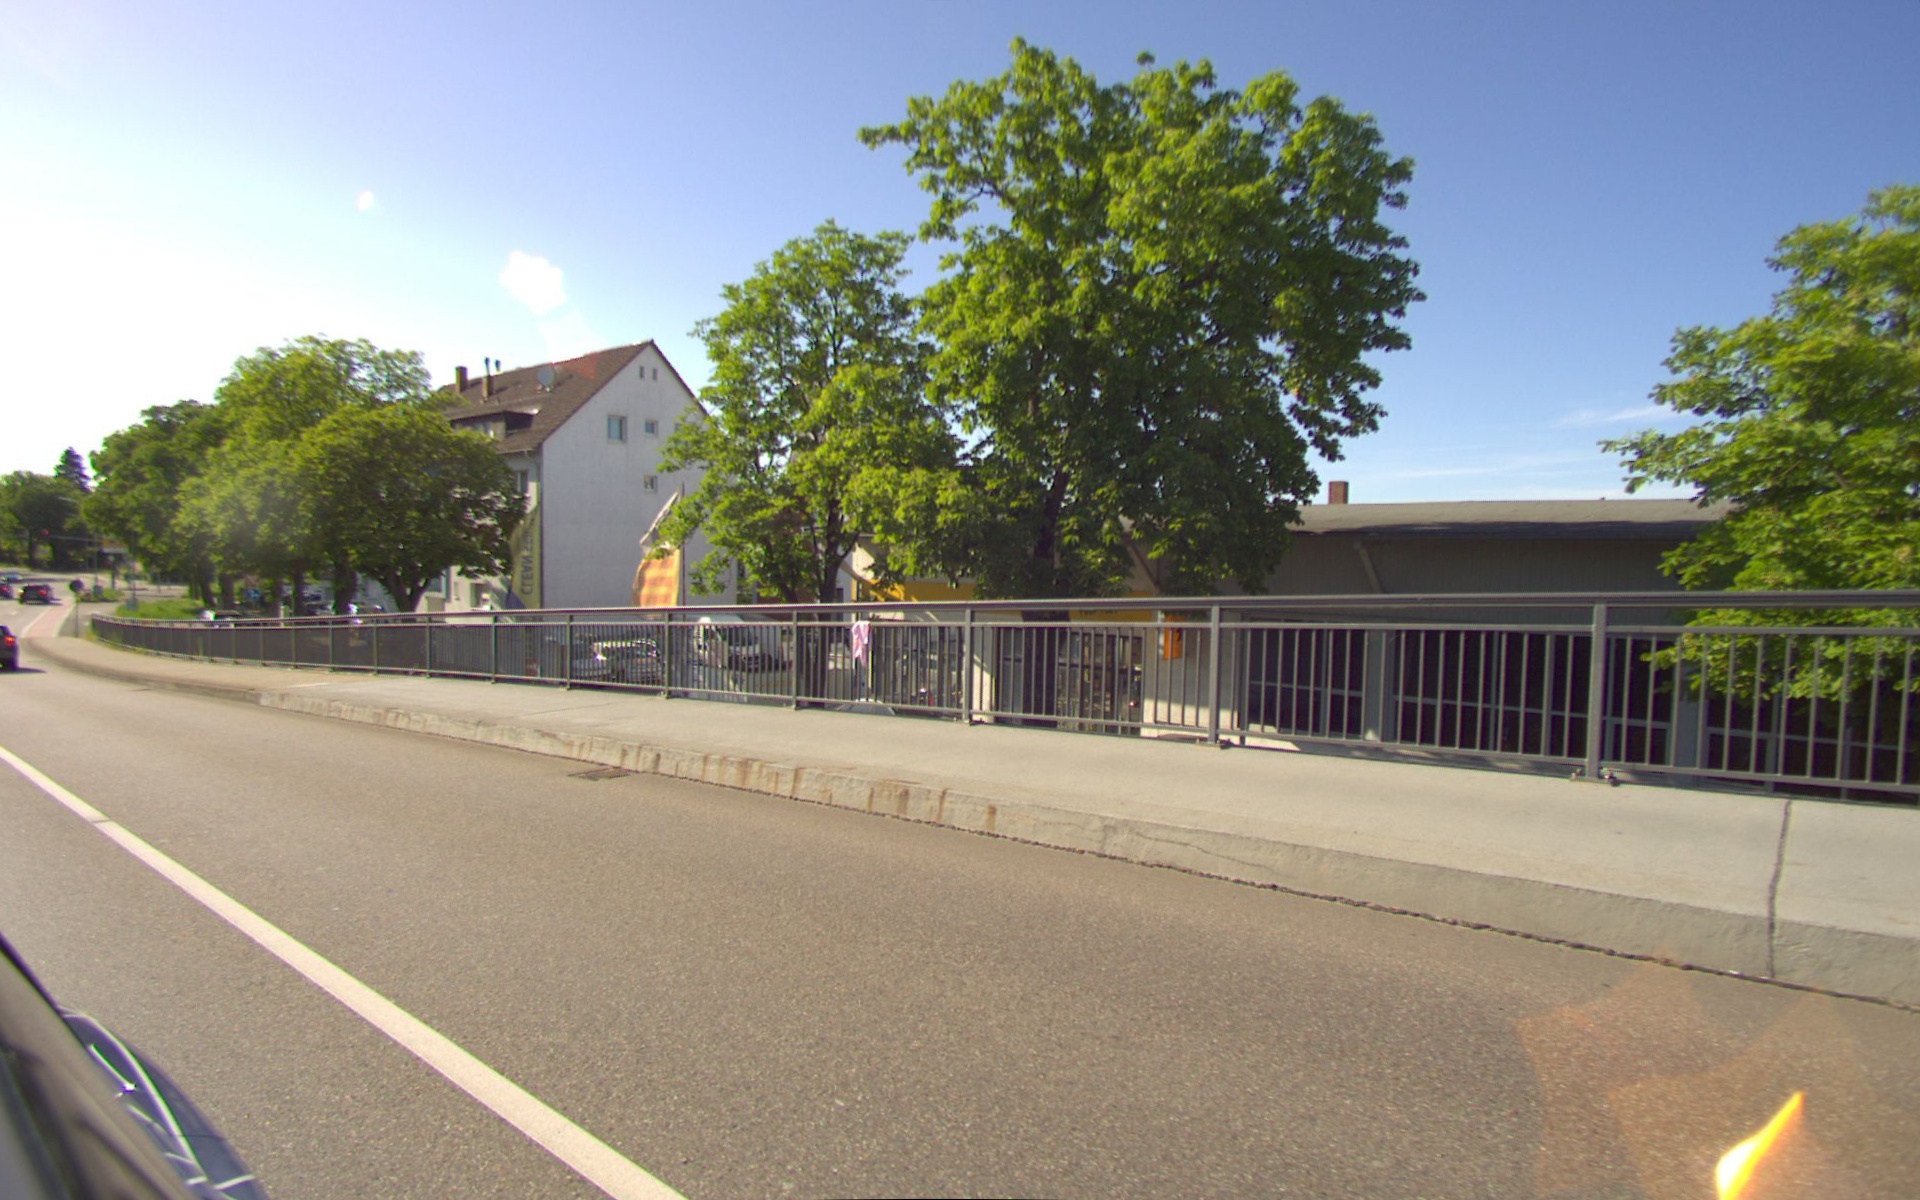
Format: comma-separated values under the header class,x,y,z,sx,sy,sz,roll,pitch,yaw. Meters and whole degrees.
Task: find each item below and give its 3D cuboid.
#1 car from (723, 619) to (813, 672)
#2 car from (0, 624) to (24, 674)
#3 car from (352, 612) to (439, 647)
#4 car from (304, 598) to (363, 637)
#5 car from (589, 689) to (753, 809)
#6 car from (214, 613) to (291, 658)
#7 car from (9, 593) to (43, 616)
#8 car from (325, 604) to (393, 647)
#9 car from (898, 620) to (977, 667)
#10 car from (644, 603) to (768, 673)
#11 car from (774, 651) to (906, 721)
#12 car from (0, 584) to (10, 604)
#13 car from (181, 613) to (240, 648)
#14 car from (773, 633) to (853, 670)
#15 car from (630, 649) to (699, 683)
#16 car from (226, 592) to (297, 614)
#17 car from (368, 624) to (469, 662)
class,x,y,z,sx,sy,sz,roll,pitch,yaw
car,-8.818,2.028,46.310,3.999,2.028,1.973,3,3,41
car,-30.358,1.480,31.165,3.986,1.486,1.752,-1,-1,40
car,-28.429,1.477,51.106,1.769,1.521,3.650,1,2,16
car,-35.945,0.969,58.038,5.106,1.944,1.727,3,3,45
car,-6.750,3.318,23.407,1.901,2.006,4.261,-2,2,-44
car,-33.722,1.644,48.182,5.238,1.741,2.015,3,4,44
car,-77.645,0.358,84.160,1.829,1.749,4.277,-1,2,-40
car,-32.403,1.316,54.478,2.046,1.944,4.790,-2,3,-45
car,-1.058,2.103,50.268,1.996,2.028,3.918,1,2,36
car,-11.196,1.762,44.341,5.883,2.581,2.109,-7,-8,38
car,-3.938,2.754,33.152,3.990,1.865,1.977,1,1,34
car,-85.637,-0.561,89.682,4.003,1.611,1.891,4,2,45
car,-39.182,1.569,52.852,2.013,1.475,4.968,-1,3,-42
car,-6.987,2.400,47.999,3.811,1.407,1.671,3,3,41
car,-12.203,2.708,41.751,3.045,1.086,1.285,4,1,41
car,-52.598,0.200,76.287,1.991,1.572,3.962,1,2,28
car,-26.180,2.055,49.063,1.986,1.610,3.971,1,1,22
